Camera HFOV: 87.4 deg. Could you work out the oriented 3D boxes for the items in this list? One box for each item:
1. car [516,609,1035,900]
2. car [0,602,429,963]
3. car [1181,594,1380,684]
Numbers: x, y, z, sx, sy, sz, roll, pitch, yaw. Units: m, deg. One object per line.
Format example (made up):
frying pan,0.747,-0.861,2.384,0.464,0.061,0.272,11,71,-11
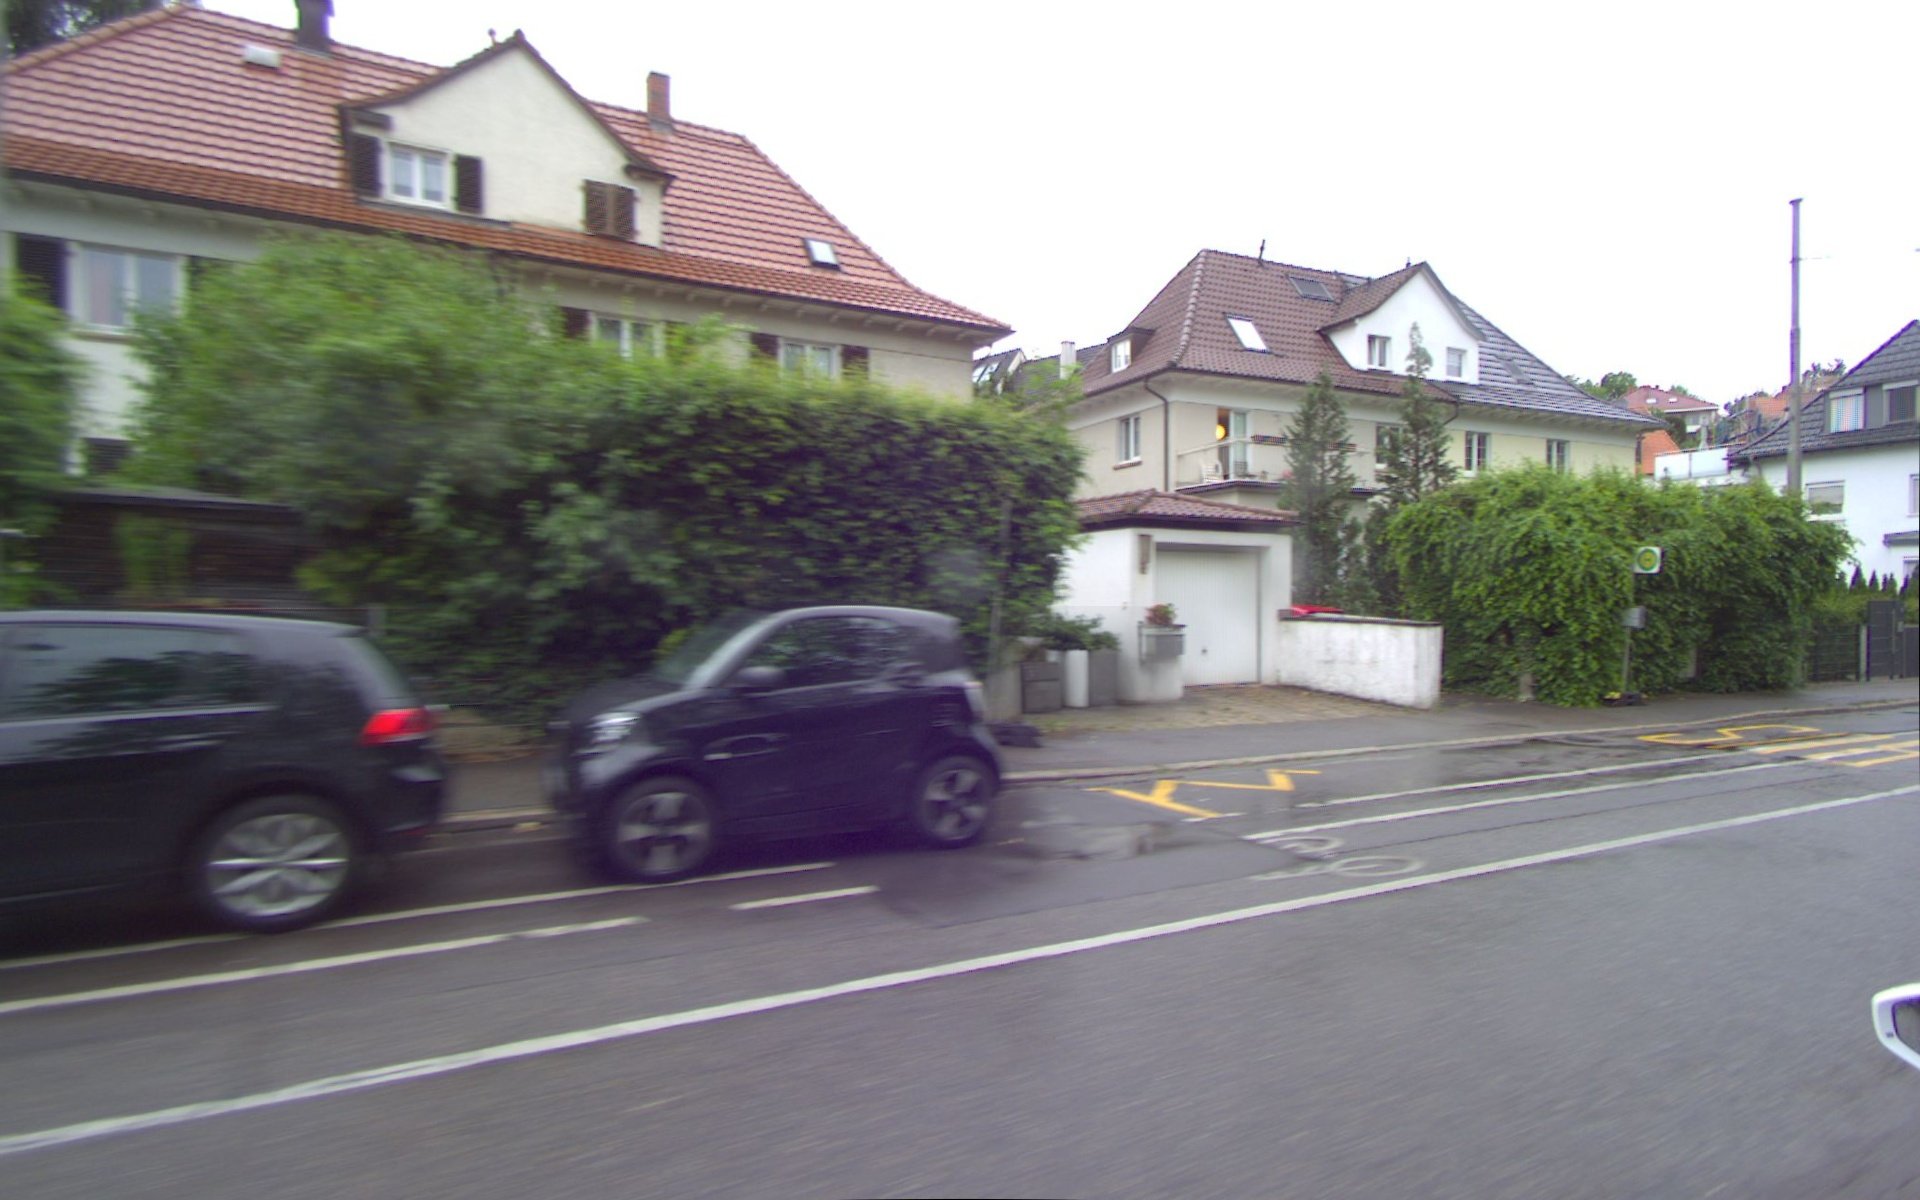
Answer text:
car,-1.174,0.811,6.489,2.993,1.473,1.512,1,-1,-29
car,-4.742,0.734,4.403,4.169,1.437,1.678,1,-1,-32
car,6.298,0.724,20.117,1.614,1.442,3.627,2,2,-29
